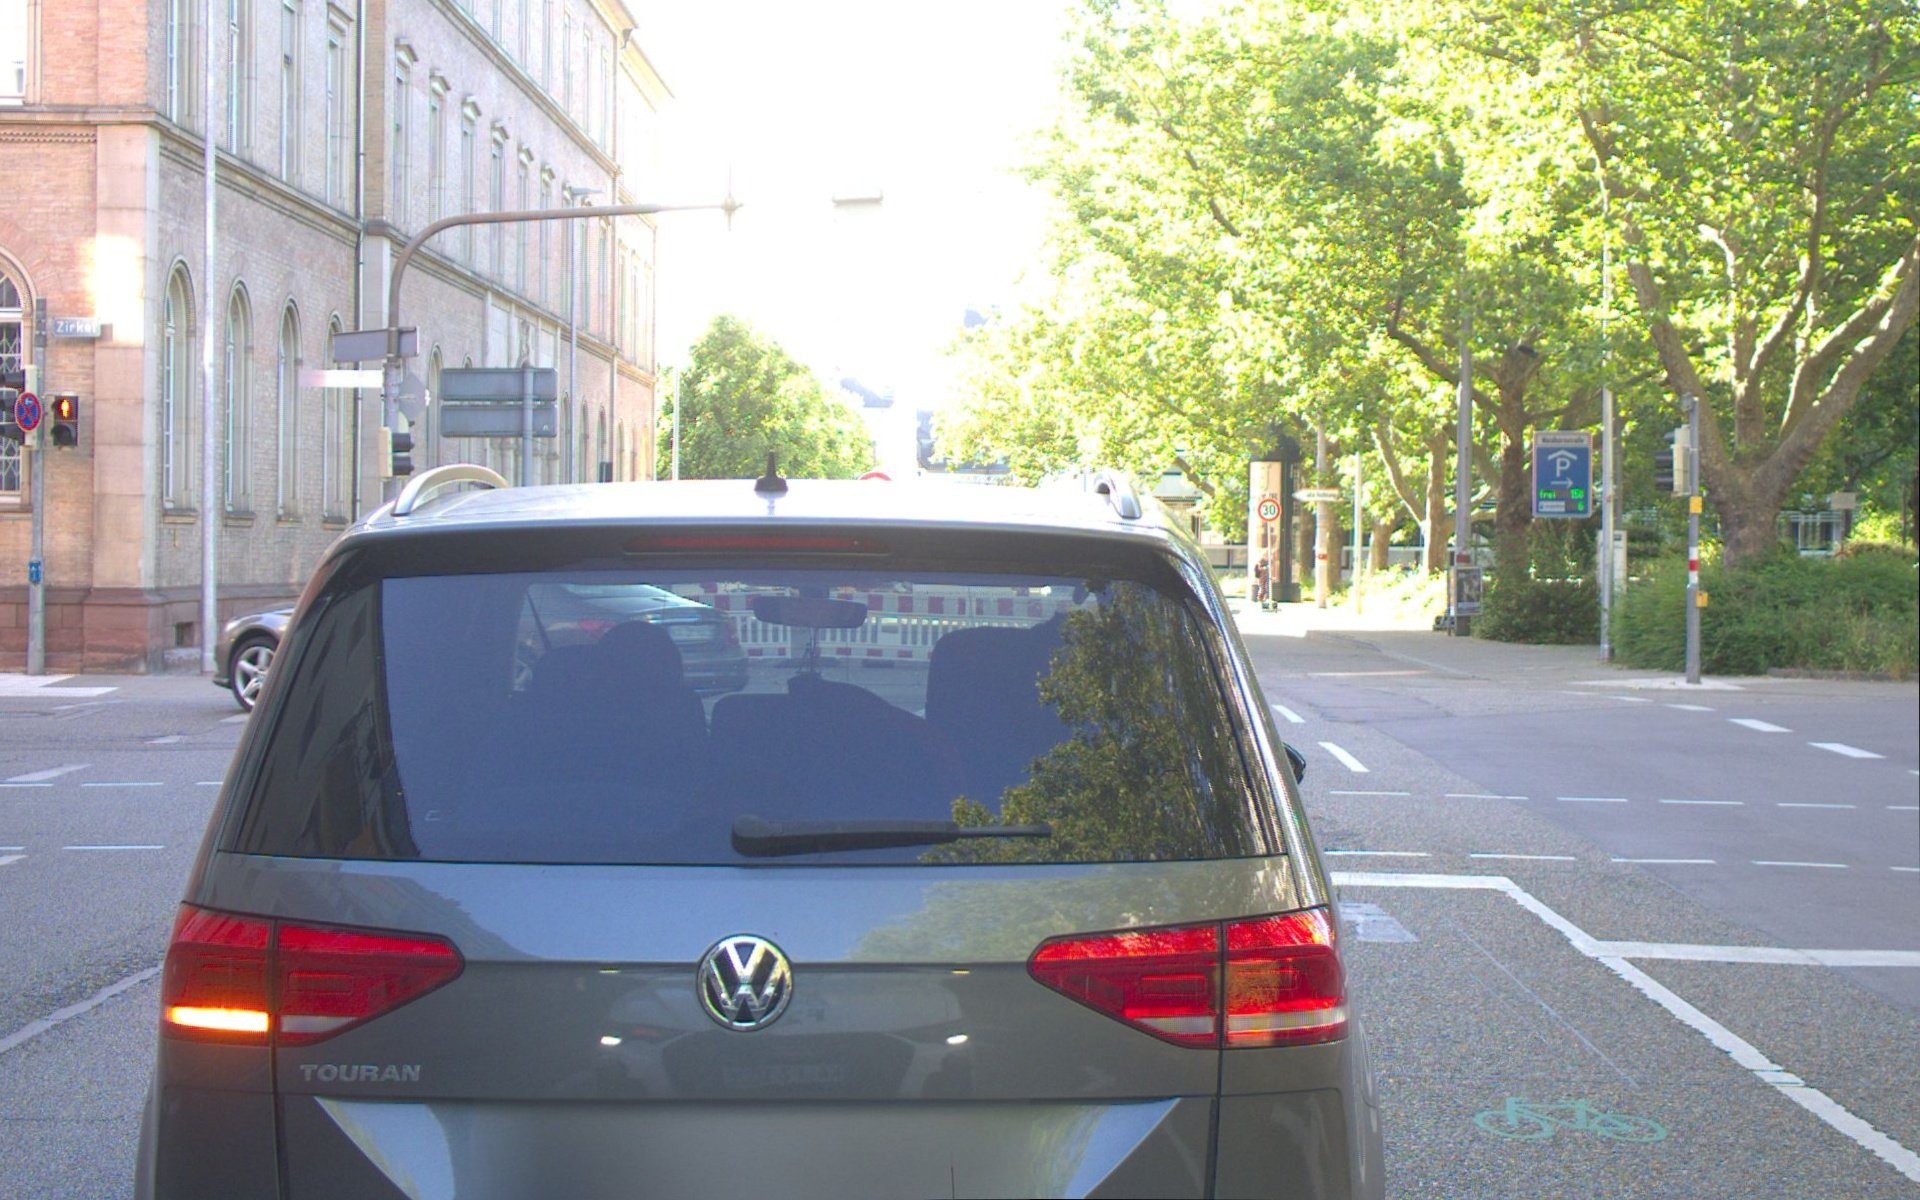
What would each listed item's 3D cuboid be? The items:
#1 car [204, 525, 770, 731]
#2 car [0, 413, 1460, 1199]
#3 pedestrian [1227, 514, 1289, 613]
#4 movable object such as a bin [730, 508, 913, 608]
[{"bbox_3d":[-3.926,0.174,28.229,4.503,1.524,1.925,2,1,35],"label":"car"},{"bbox_3d":[-0.293,0.548,6.126,1.762,1.601,4.000,1,1,0],"label":"car"},{"bbox_3d":[8.137,-0.995,94.023,1.419,2.658,1.148,1,0,-8],"label":"pedestrian"},{"bbox_3d":[-3.942,-1.196,97.626,4.838,2.767,2.467,1,1,43],"label":"movable object such as a bin"}]
